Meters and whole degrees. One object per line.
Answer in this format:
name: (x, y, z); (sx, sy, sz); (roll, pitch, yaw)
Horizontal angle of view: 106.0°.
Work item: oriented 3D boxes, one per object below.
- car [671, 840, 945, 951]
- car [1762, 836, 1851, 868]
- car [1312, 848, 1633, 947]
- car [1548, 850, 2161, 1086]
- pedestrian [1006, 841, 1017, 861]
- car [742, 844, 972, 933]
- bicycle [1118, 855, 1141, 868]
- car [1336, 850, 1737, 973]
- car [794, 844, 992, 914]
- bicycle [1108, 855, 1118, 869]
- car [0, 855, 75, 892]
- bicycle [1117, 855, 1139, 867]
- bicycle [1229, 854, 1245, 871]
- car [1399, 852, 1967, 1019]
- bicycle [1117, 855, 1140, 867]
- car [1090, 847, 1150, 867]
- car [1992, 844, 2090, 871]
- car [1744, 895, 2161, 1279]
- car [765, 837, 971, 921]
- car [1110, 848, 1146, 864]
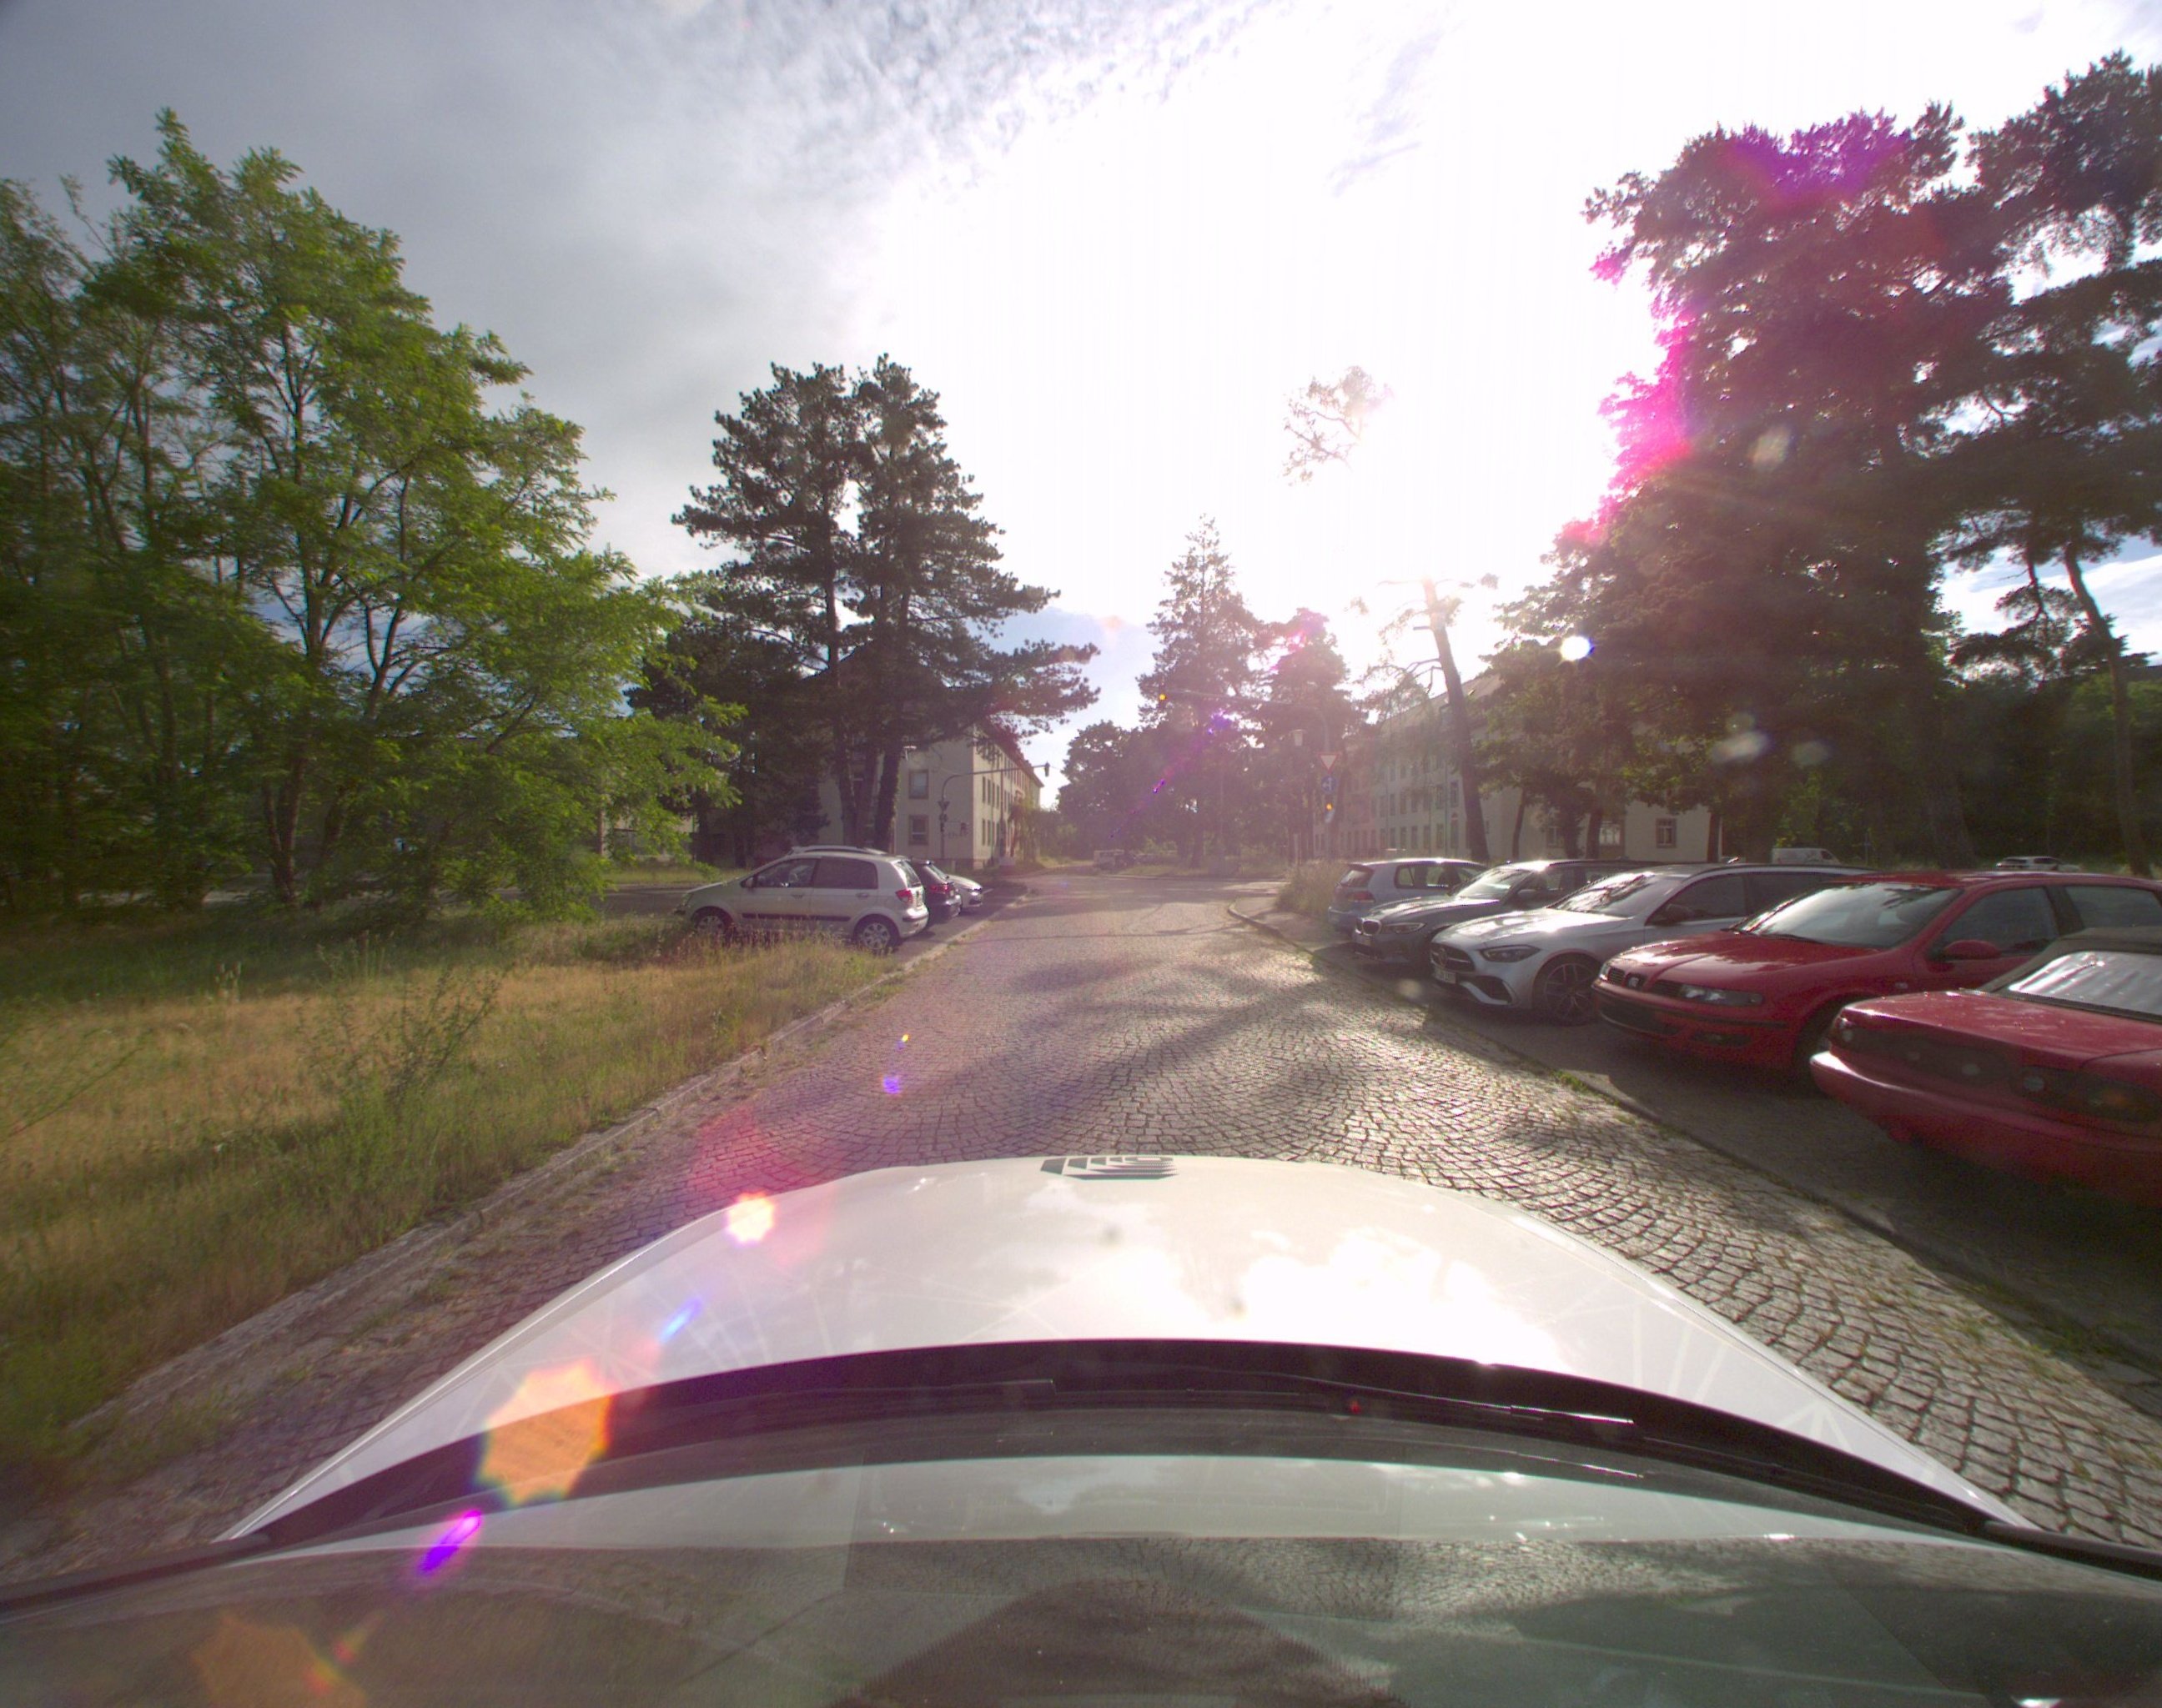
car: (-4.193, 0.623, 13.003); (3.672, 1.473, 1.849); (3, 0, -1)
car: (59.099, -0.133, 66.406); (5.138, 2.536, 2.265); (0, 0, 2)
car: (6.454, 0.688, 13.797); (4.530, 1.505, 1.932); (-1, 0, -1)
car: (6.170, 0.732, 6.123); (4.326, 1.473, 1.740); (-1, 0, 0)
pedestrian: (-6.572, -0.283, 77.363); (0.982, 1.963, 0.932); (0, -1, 0)
car: (-4.175, 0.633, 15.659); (3.816, 1.429, 1.858); (3, 0, 0)
bicycle: (3.828, 0.563, 64.915); (1.787, 0.999, 0.644); (-1, 1, -1)
car: (6.049, 0.717, 11.175); (4.496, 1.473, 1.893); (-1, 0, -3)
car: (-4.704, 0.605, 20.901); (4.574, 1.455, 1.902); (3, 1, -2)
bicycle: (2.387, 0.582, 61.337); (0.725, 0.999, 1.799); (0, 1, 1)
car: (-41.500, 0.726, 31.151); (3.972, 1.382, 1.666); (0, 0, 1)
bicycle: (3.860, 0.571, 66.658); (1.787, 0.999, 0.644); (-1, 1, -1)
bicycle: (9.686, 0.545, 50.690); (0.561, 0.999, 1.750); (-1, 1, -3)
car: (5.881, 0.755, 8.396); (4.491, 1.473, 1.850); (-1, 0, 0)
bicycle: (3.847, 0.569, 65.936); (1.787, 0.999, 0.644); (-1, 1, -1)
car: (3.848, 0.297, 80.853); (5.507, 1.916, 2.244); (0, 0, -13)
car: (59.246, 0.221, 50.293); (3.920, 1.679, 1.855); (0, 0, -1)
car: (5.729, 0.864, 3.749); (3.937, 1.261, 1.727); (-1, 0, 1)
car: (-4.667, 0.548, 18.358); (4.113, 1.600, 1.856); (3, 0, -4)
car: (4.442, 0.233, 77.283); (3.034, 1.465, 1.713); (0, -1, -12)
